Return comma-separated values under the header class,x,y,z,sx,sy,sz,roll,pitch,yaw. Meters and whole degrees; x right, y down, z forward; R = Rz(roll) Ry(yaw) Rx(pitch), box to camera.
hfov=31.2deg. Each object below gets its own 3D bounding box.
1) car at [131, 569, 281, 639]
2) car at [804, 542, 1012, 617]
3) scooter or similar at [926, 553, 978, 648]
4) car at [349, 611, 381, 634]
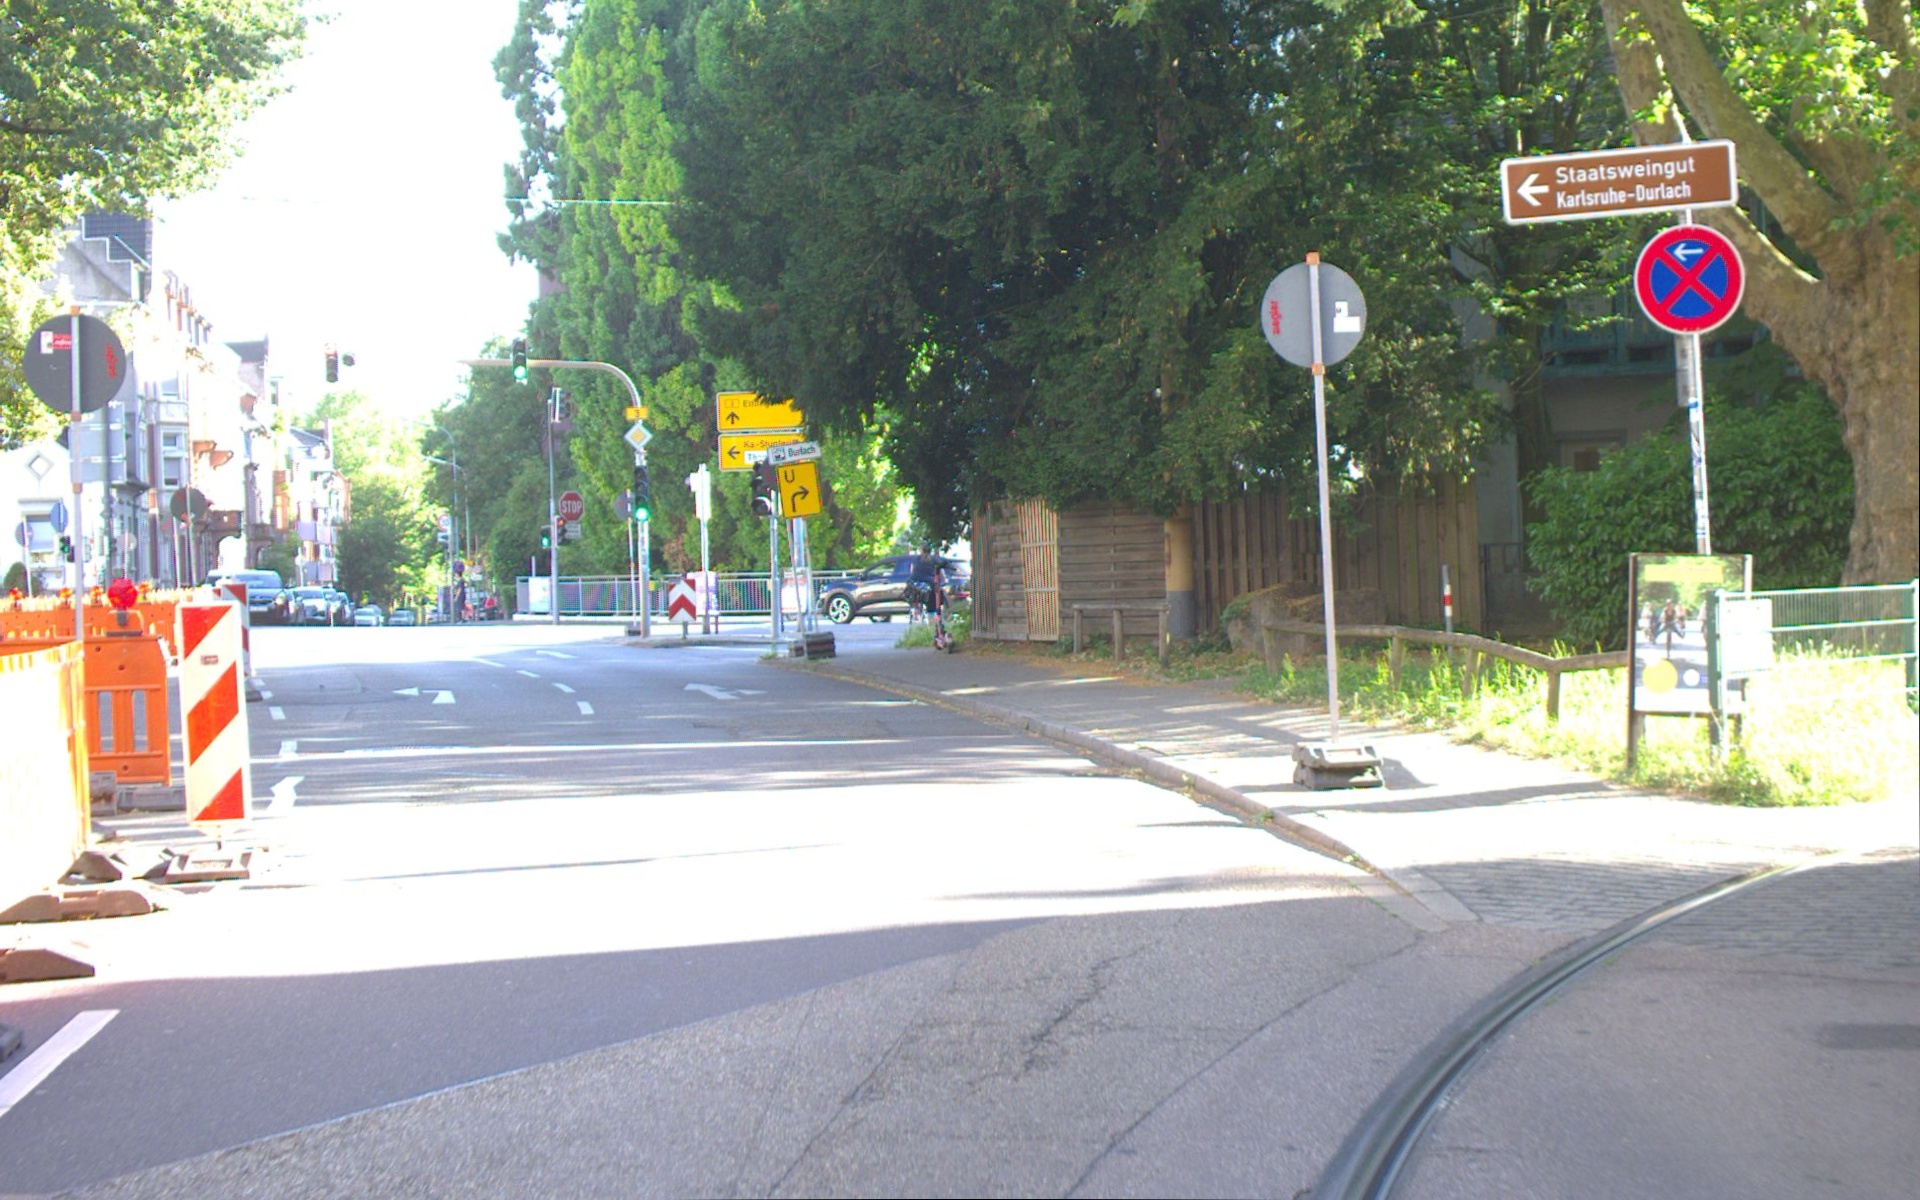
class,x,y,z,sx,sy,sz,roll,pitch,yaw
car,-21.374,0.079,97.380,4.248,1.809,1.995,0,4,43
car,-1.257,-0.458,82.153,4.657,1.664,1.996,-1,-2,34
scooter or similar,-0.106,-0.001,45.241,0.438,1.198,1.259,-4,1,-8
car,-42.218,1.592,244.024,1.993,1.486,4.471,-2,1,-7
